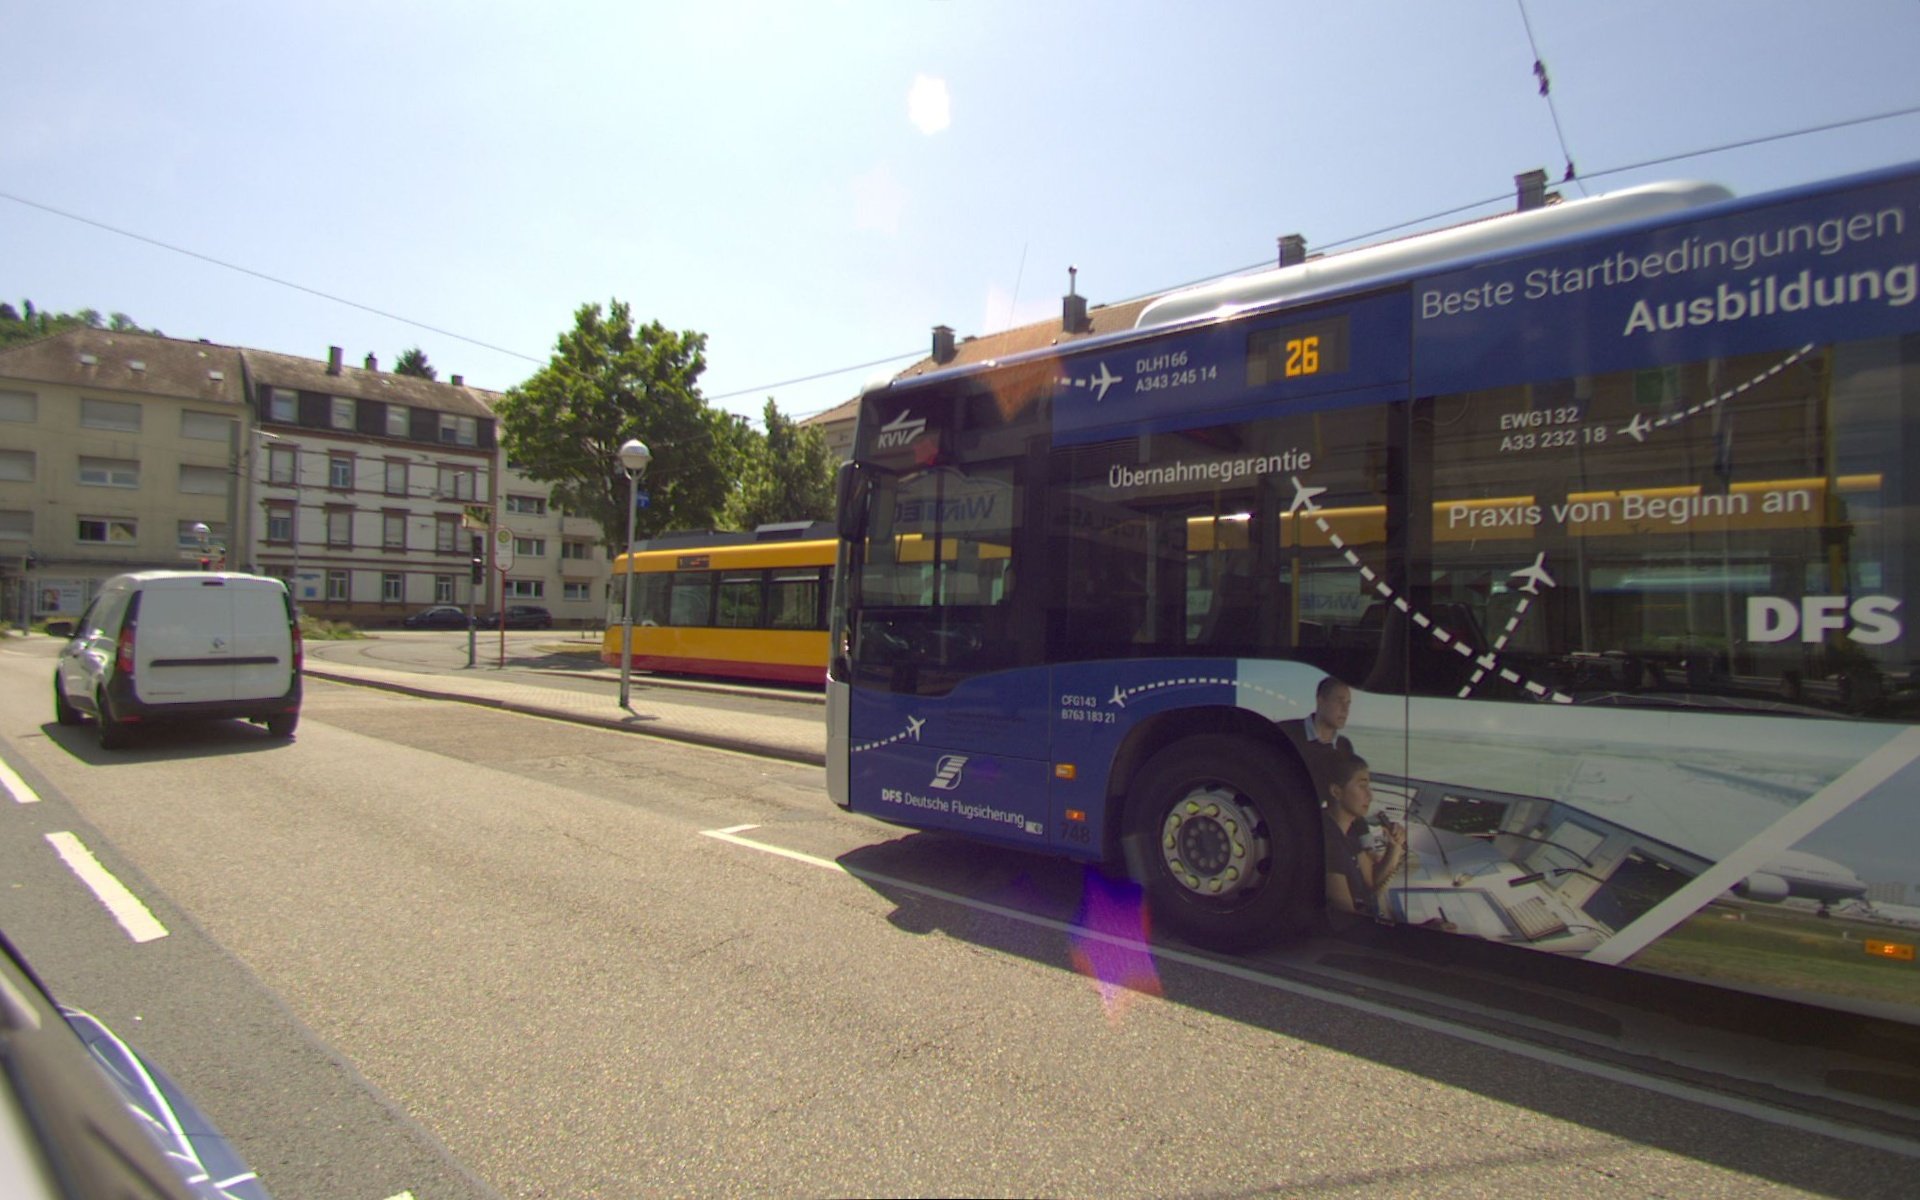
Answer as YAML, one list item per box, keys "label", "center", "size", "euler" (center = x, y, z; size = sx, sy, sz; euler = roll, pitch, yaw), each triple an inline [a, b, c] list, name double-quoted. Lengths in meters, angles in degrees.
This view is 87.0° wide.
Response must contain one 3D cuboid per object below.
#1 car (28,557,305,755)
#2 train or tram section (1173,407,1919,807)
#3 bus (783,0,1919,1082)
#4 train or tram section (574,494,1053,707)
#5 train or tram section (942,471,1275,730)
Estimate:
- label: "car"
  center: [-9.331, 0.489, 11.736]
  size: [4.711, 1.864, 1.686]
  euler: [1, 1, 41]
- label: "train or tram section"
  center: [8.586, 0.055, 10.744]
  size: [12.654, 3.521, 2.932]
  euler: [0, 0, 42]
- label: "bus"
  center: [4.406, -0.410, 3.051]
  size: [12.036, 3.452, 2.877]
  euler: [1, 1, 42]
- label: "train or tram section"
  center: [-3.941, 0.001, 22.067]
  size: [12.710, 3.521, 2.932]
  euler: [0, 0, 42]
- label: "train or tram section"
  center: [2.345, 0.062, 16.346]
  size: [4.416, 3.522, 2.932]
  euler: [0, -2, 42]
